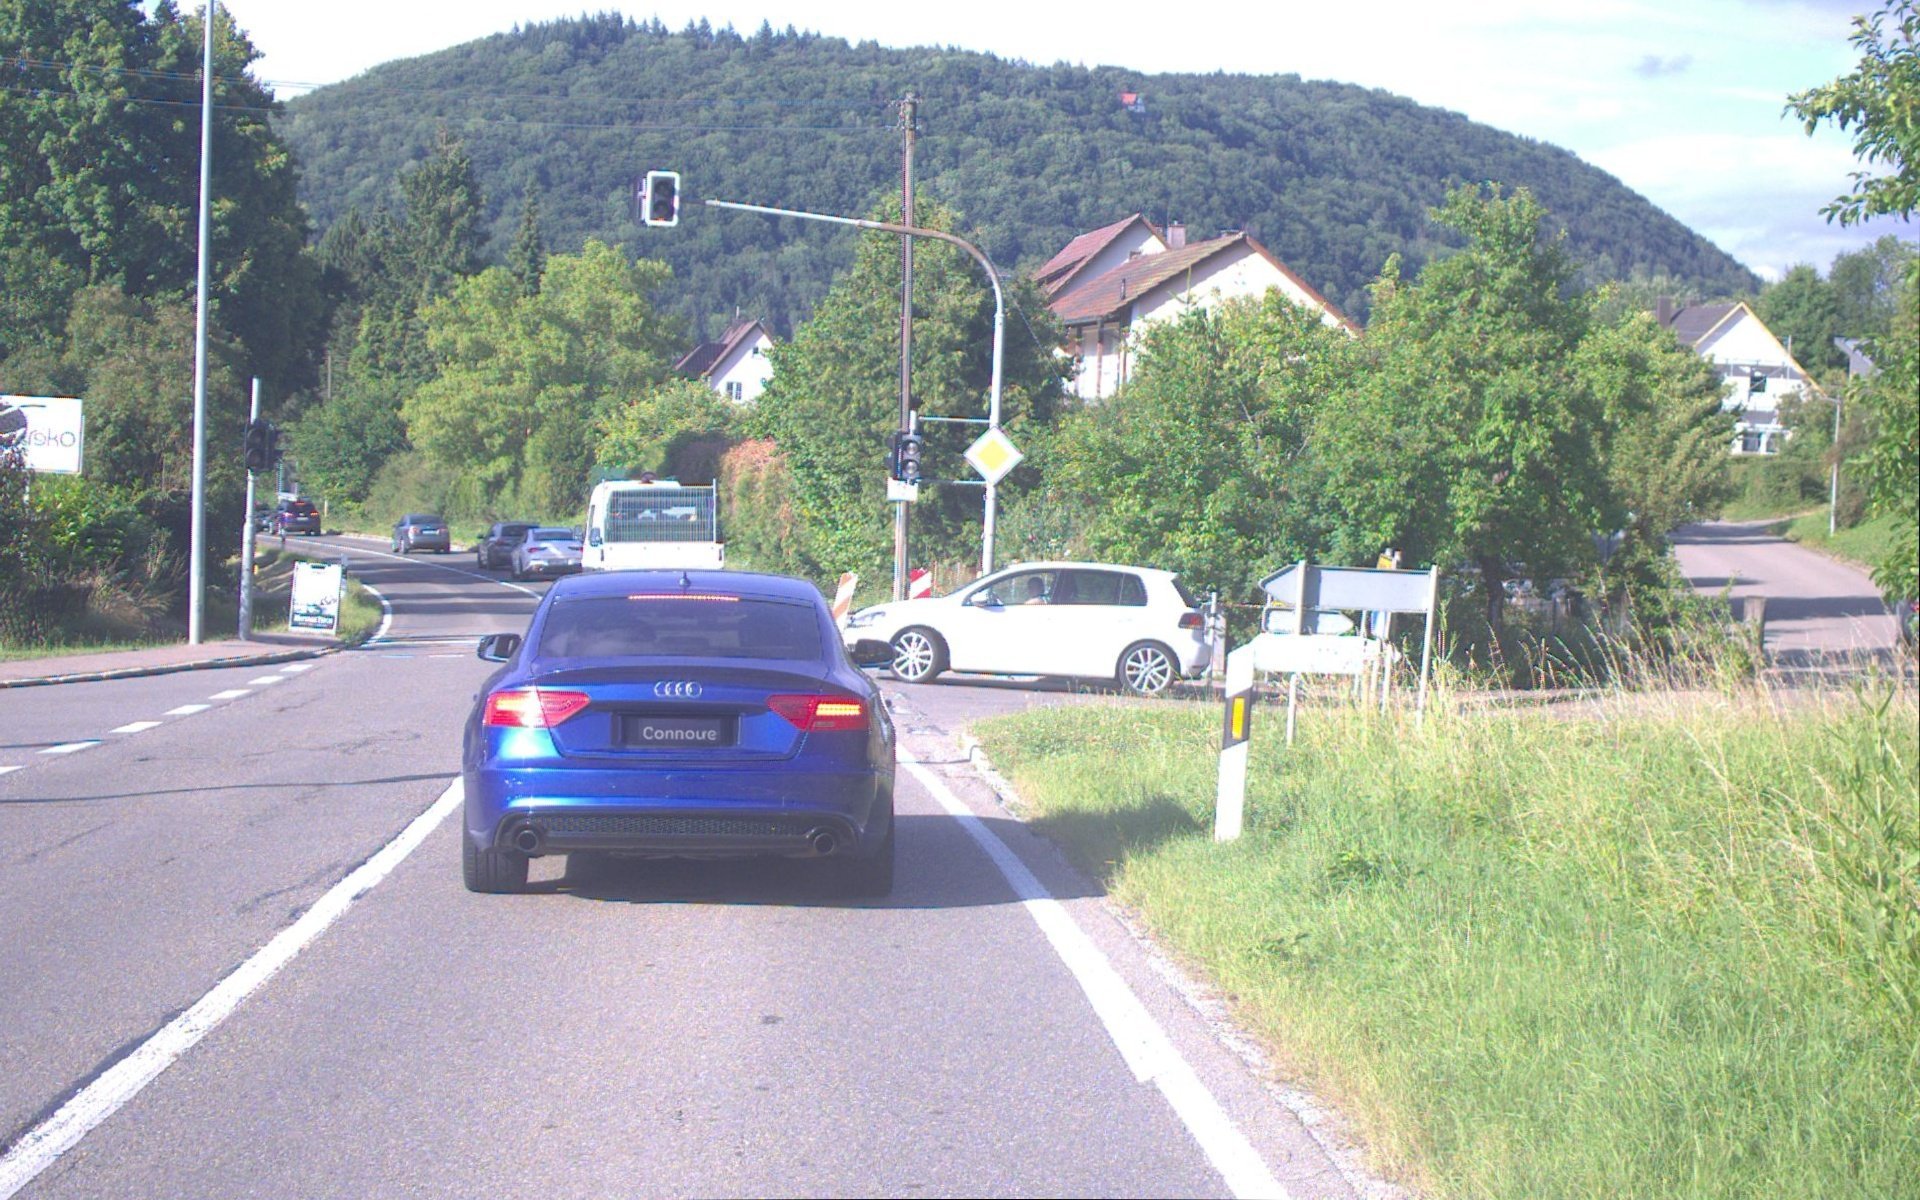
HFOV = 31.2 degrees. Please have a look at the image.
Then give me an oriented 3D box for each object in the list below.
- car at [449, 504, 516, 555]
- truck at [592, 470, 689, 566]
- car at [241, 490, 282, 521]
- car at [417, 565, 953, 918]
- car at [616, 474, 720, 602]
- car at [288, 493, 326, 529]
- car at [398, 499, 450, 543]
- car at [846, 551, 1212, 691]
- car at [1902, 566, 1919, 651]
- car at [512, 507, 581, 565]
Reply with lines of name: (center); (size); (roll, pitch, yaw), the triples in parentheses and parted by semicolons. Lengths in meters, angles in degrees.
car: (-14.461, -2.113, 104.034); (1.697, 1.485, 3.528); (1, 0, -12)
truck: (-6.978, -1.742, 74.688); (1.697, 1.947, 5.924); (1, 0, -9)
car: (-34.577, -4.659, 170.265); (1.688, 1.433, 3.671); (1, 0, -7)
car: (-1.093, 0.549, 15.526); (1.795, 1.383, 3.999); (0, 0, 5)
car: (-5.191, -1.079, 61.424); (1.746, 2.188, 4.001); (1, 0, -4)
car: (-30.213, -4.118, 159.161); (1.625, 1.571, 3.680); (1, 0, -10)
car: (-19.200, -2.805, 123.181); (1.697, 1.485, 3.527); (1, 0, -7)
car: (0.747, 0.235, 39.085); (4.044, 1.503, 1.855); (1, 0, -1)
car: (16.768, 0.151, 58.015); (1.624, 1.385, 3.997); (1, 0, 15)
car: (-11.122, -1.696, 92.435); (1.697, 1.485, 3.528); (1, 0, -9)
